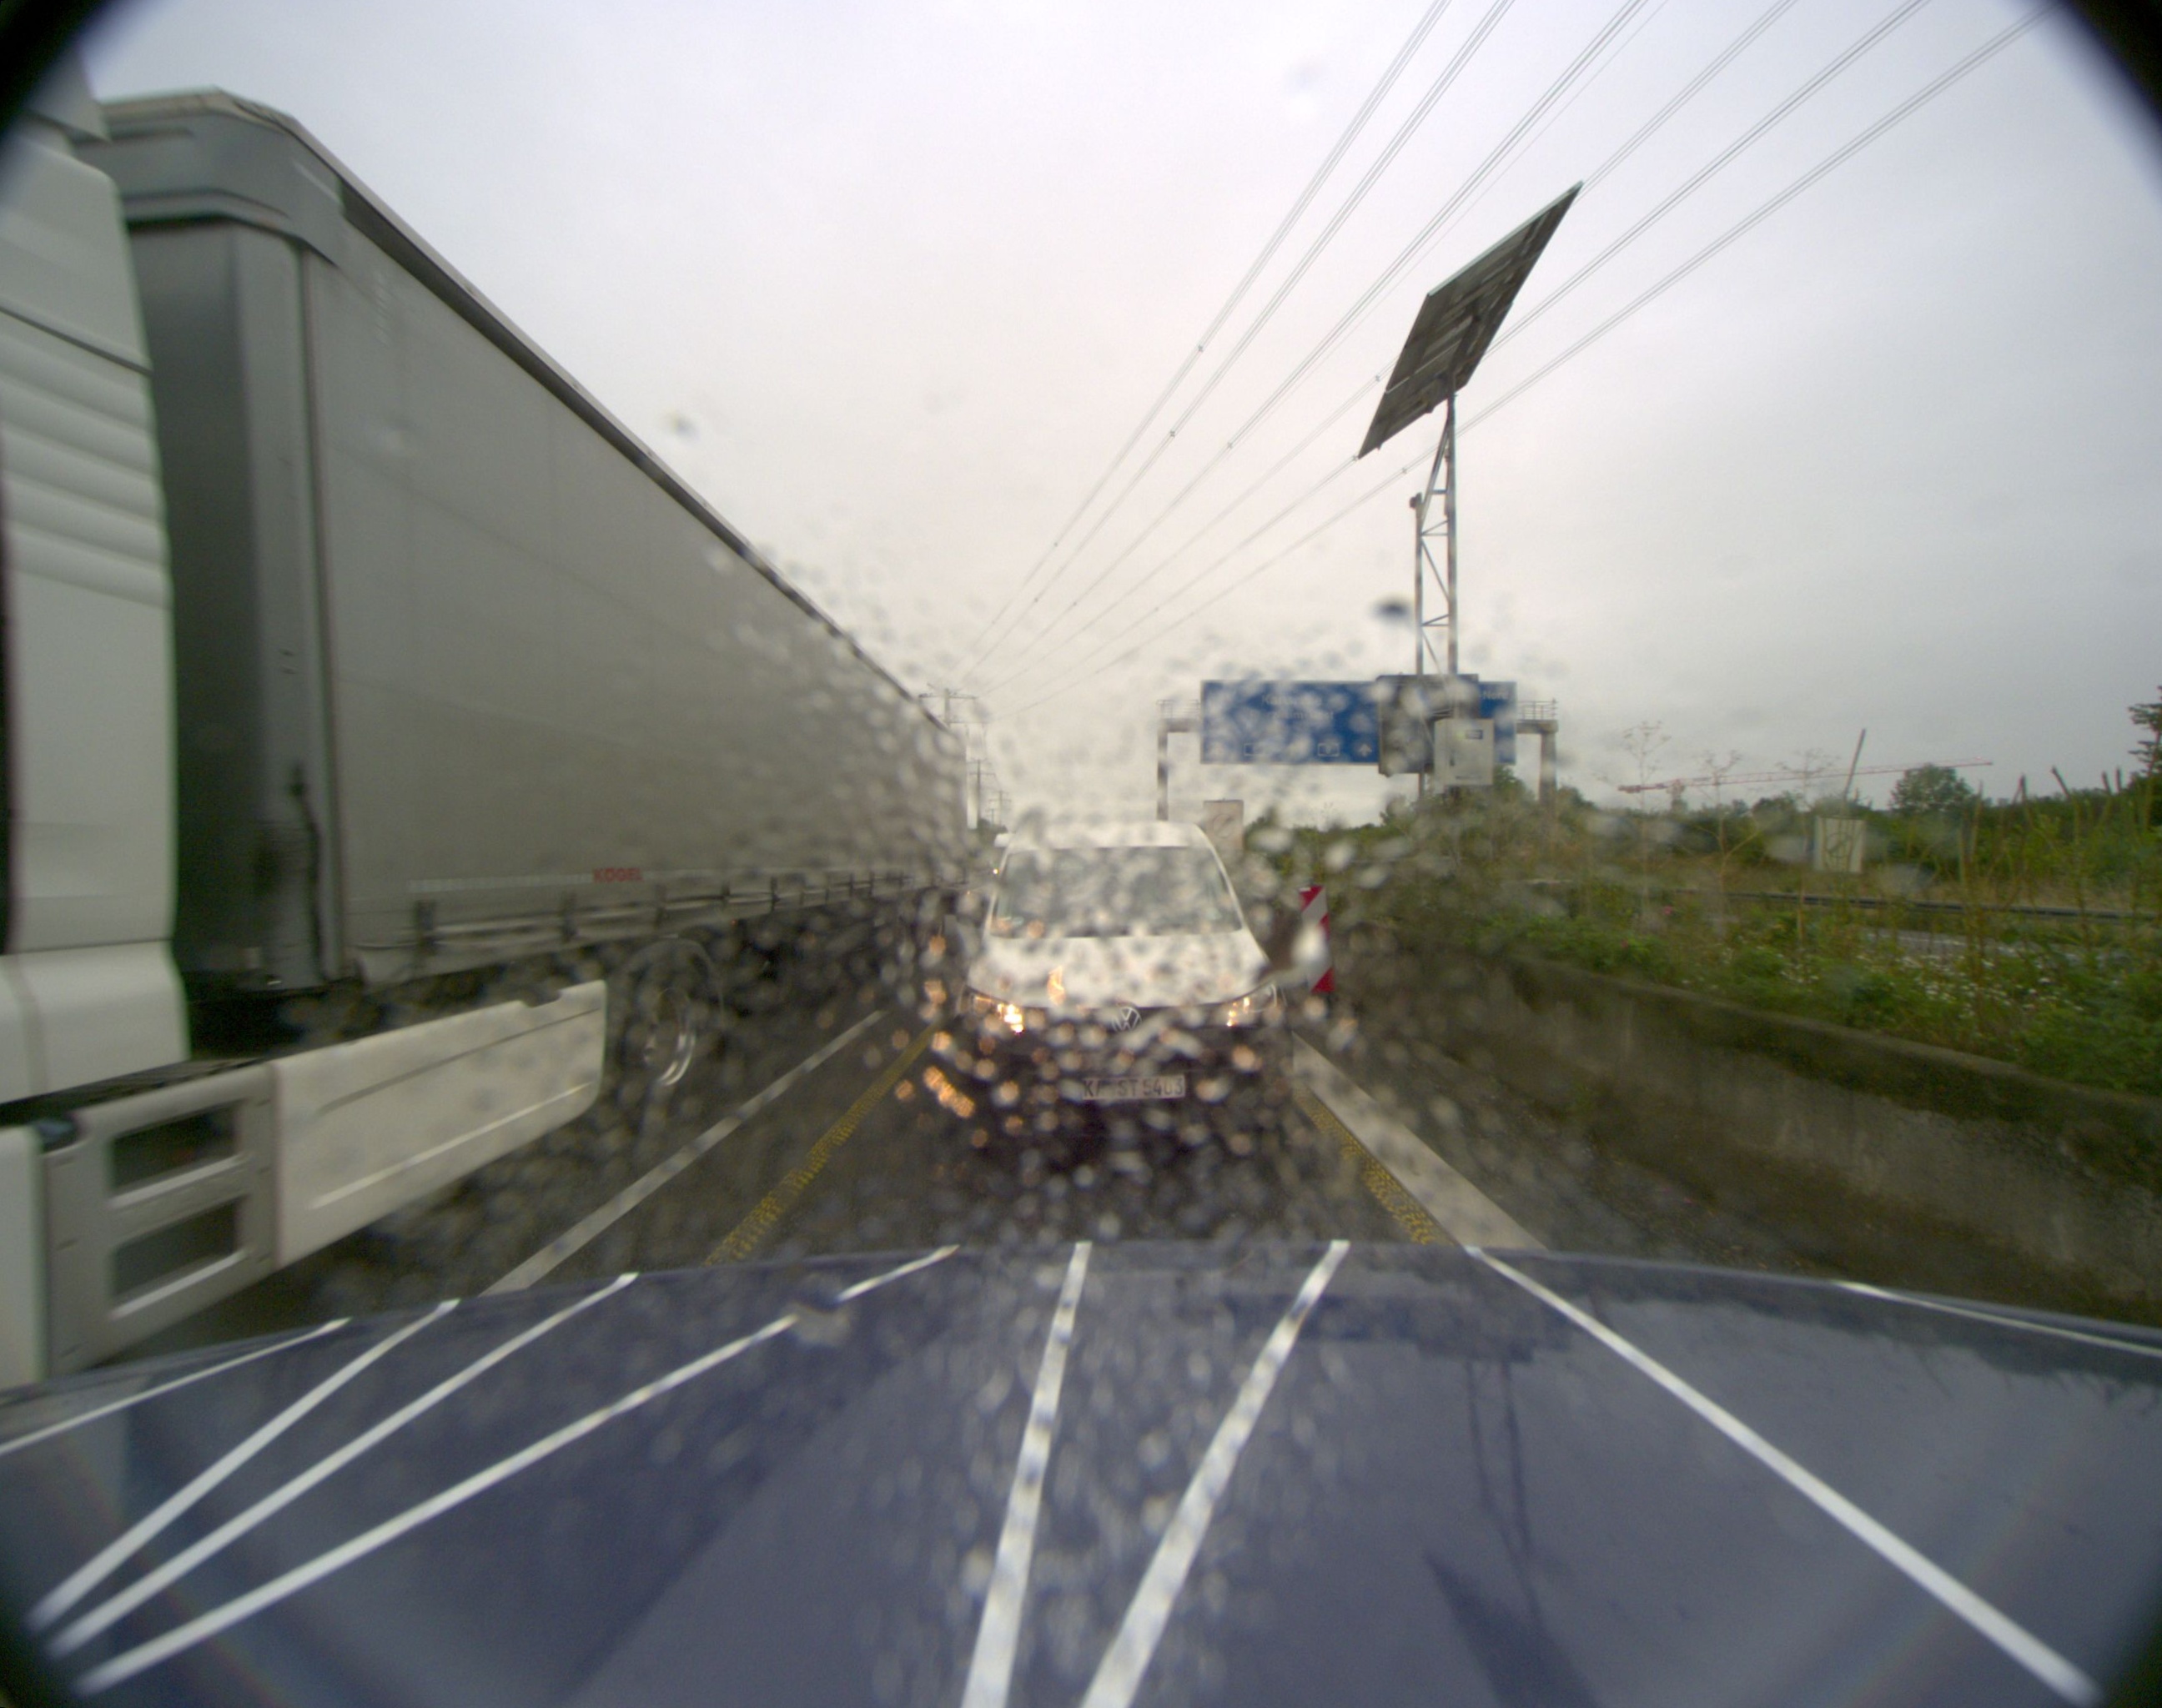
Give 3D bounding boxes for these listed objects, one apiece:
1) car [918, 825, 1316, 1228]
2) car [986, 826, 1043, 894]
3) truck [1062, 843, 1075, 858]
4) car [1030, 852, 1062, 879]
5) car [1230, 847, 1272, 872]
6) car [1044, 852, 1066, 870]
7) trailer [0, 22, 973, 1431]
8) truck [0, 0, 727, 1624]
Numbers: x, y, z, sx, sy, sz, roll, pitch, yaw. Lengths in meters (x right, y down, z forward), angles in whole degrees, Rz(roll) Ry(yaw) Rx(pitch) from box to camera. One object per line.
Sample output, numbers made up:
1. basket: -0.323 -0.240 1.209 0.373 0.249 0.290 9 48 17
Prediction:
1. car: 0.193 0.784 5.632 1.768 1.803 4.345 -1 0 1
2. car: -2.886 0.240 34.344 1.998 2.766 5.756 -1 0 0
3. truck: -3.322 -0.921 204.031 2.875 4.007 8.309 -1 0 1
4. car: -2.304 0.732 51.153 1.688 1.649 4.281 -1 0 3
5. car: 12.515 0.409 56.133 1.998 1.716 5.059 -1 0 1
6. car: -2.278 0.629 68.182 1.804 1.523 4.149 -1 0 -1
7. trailer: -3.768 -0.346 9.111 2.713 4.122 13.731 -1 0 1
8. truck: -3.845 -0.283 2.282 2.713 4.114 5.690 -1 0 1
